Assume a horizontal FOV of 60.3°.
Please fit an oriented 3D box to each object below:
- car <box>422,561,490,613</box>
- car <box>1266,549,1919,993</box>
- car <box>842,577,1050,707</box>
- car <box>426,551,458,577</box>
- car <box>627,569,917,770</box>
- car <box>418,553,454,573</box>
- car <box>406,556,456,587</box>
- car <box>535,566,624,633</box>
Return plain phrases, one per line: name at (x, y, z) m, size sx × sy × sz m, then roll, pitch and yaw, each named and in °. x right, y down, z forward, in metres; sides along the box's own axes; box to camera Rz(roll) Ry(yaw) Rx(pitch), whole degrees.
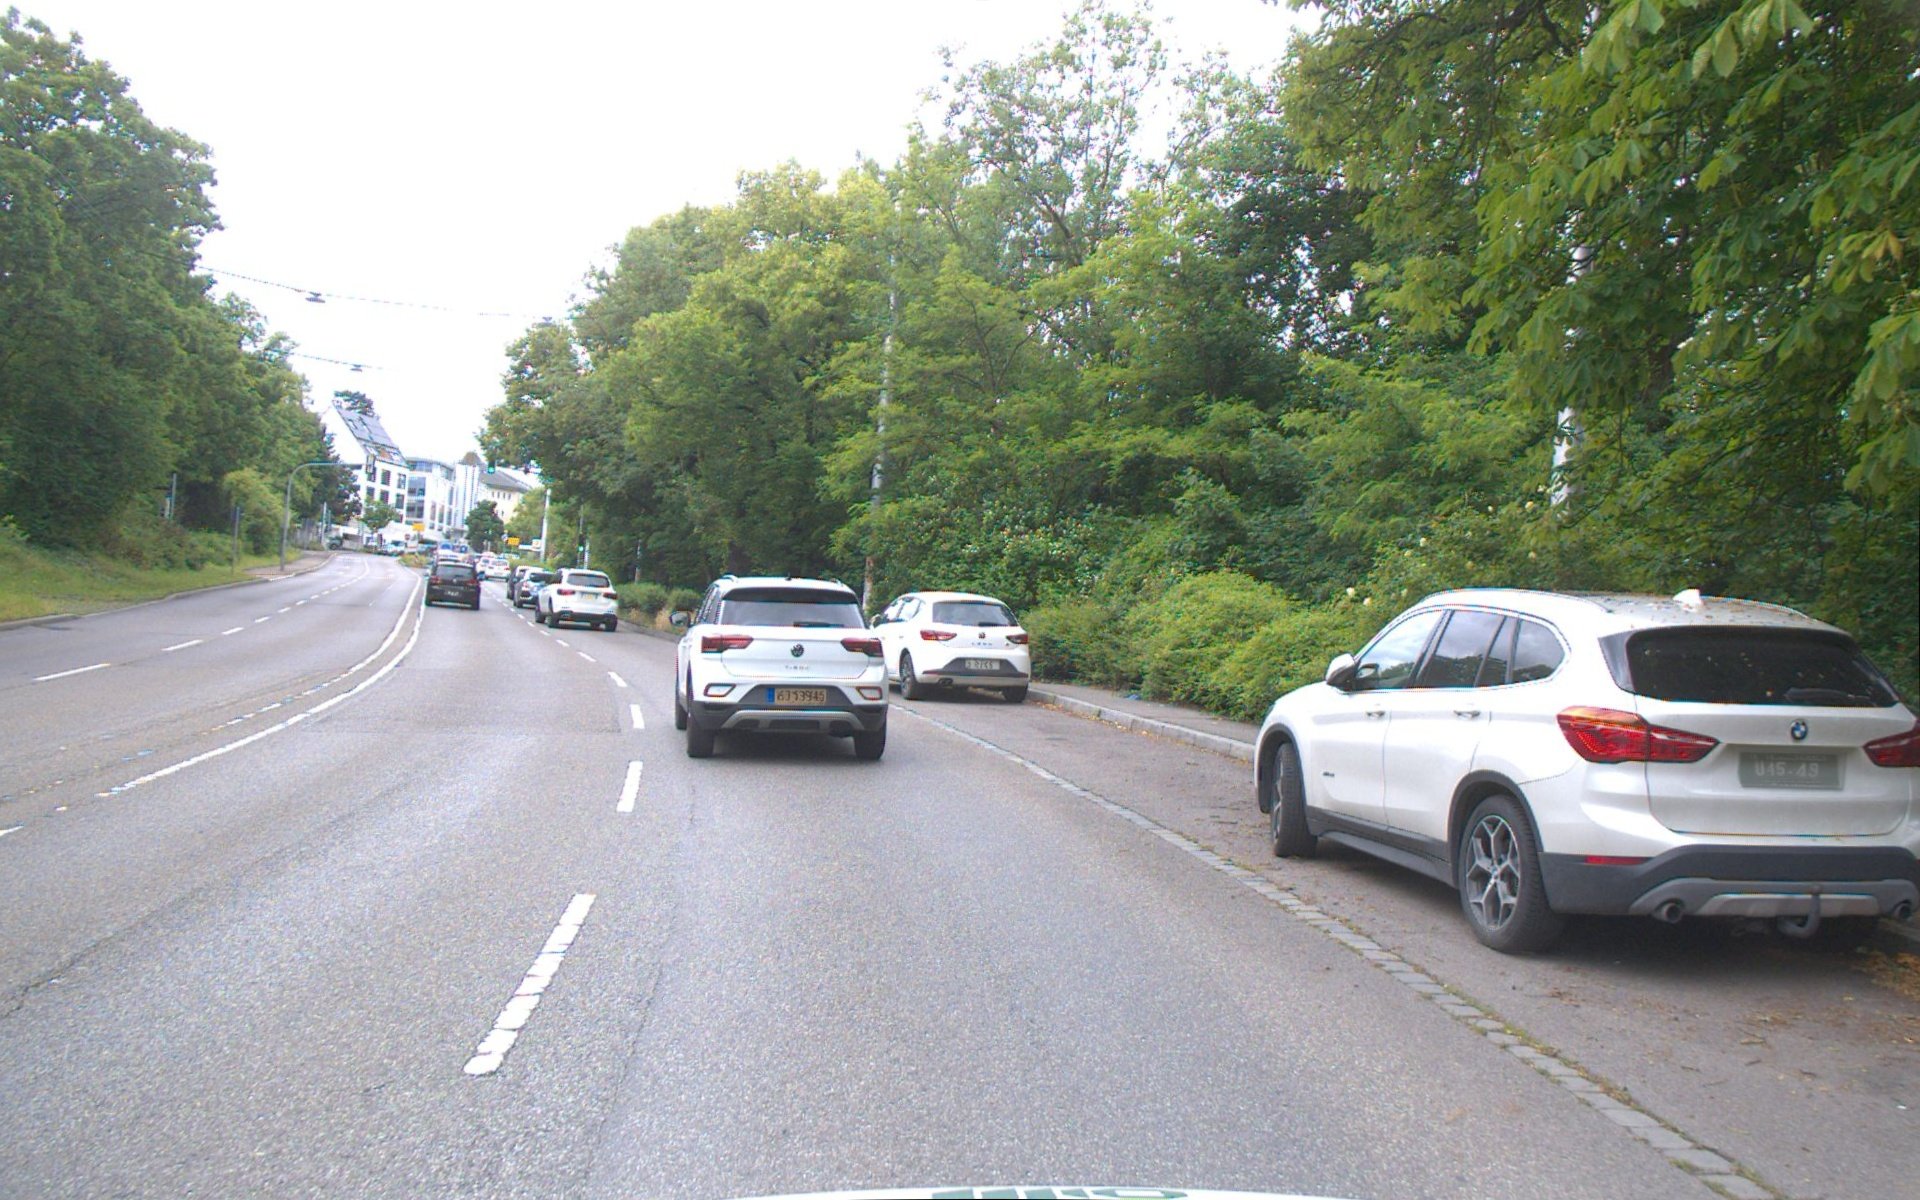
car at (-16.841, -0.444, 55.171) m, size 1.921 × 1.491 × 3.978 m, roll 4°, pitch 1°, yaw -20°
car at (3.083, 0.644, 8.553) m, size 1.725 × 1.681 × 4.374 m, roll 1°, pitch 0°, yaw -7°
car at (-0.325, 0.533, 23.927) m, size 1.705 × 1.508 × 4.681 m, roll 4°, pitch 1°, yaw -17°
car at (-34.729, -2.435, 110.968) m, size 1.681 × 1.617 × 3.987 m, roll 4°, pitch 1°, yaw -14°
car at (-1.910, 0.552, 15.582) m, size 1.970 × 1.624 × 3.980 m, roll 1°, pitch 0°, yaw -18°
car at (-43.310, -3.048, 136.655) m, size 1.955 × 1.553 × 3.996 m, roll 4°, pitch 1°, yaw -6°
car at (-28.498, -1.558, 89.192) m, size 1.958 × 1.512 × 3.991 m, roll 4°, pitch 1°, yaw -10°
car at (-10.750, -0.047, 46.582) m, size 1.826 × 1.732 × 3.974 m, roll 1°, pitch 1°, yaw -22°
